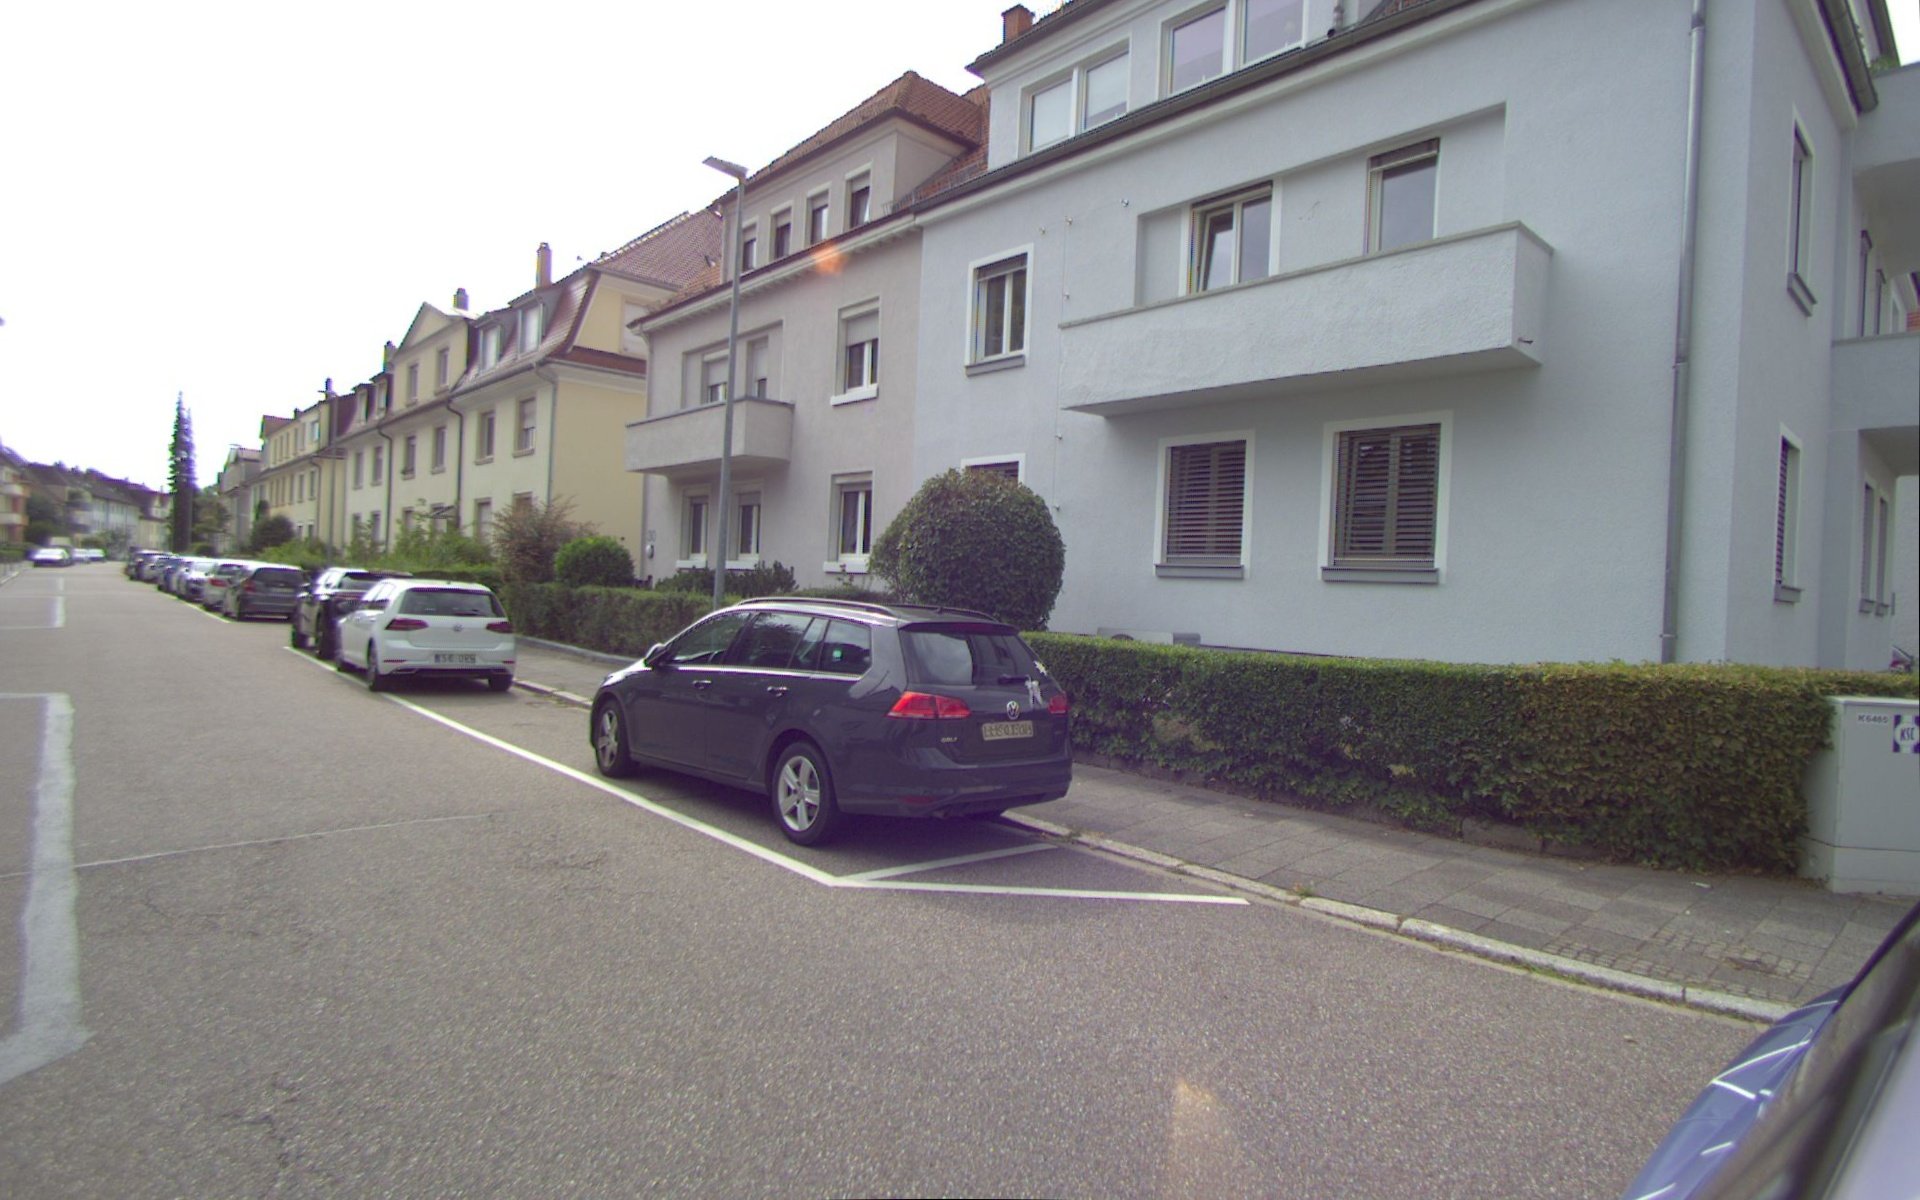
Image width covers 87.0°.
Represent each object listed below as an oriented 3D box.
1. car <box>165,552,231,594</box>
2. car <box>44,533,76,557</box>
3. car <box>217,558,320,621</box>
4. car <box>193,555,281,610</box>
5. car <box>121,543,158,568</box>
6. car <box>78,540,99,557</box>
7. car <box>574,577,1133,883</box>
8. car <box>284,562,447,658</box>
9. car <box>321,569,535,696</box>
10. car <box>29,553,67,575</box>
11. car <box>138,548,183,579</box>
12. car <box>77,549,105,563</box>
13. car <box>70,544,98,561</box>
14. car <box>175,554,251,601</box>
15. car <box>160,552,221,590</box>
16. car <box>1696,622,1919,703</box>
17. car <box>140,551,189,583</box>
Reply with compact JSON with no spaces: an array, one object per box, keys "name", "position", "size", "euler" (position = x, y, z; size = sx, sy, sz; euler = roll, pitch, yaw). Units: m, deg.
[{"name":"car","position":[-30.322,-1.088,40.235],"size":[1.827,1.490,4.170],"euler":[2,1,-40]},{"name":"car","position":[-82.306,-5.039,92.549],"size":[1.964,2.039,3.996],"euler":[2,1,-40]},{"name":"car","position":[-18.564,-0.305,27.101],"size":[1.827,1.490,4.170],"euler":[2,1,-40]},{"name":"car","position":[-22.259,-0.566,31.105],"size":[1.827,1.490,4.170],"euler":[2,1,-40]},{"name":"car","position":[-57.662,-3.149,71.096],"size":[1.827,1.597,4.169],"euler":[2,1,-42]},{"name":"car","position":[-120.633,-7.133,140.095],"size":[1.963,2.150,3.998],"euler":[2,1,-38]},{"name":"car","position":[-1.005,0.660,7.403],"size":[1.829,1.490,4.164],"euler":[2,1,-45]},{"name":"car","position":[-10.884,0.123,18.392],"size":[1.827,1.490,4.170],"euler":[2,1,-40]},{"name":"car","position":[-7.752,0.370,14.539],"size":[1.827,1.490,4.170],"euler":[2,1,-40]},{"name":"car","position":[-74.711,-2.958,82.939],"size":[1.963,1.660,3.998],"euler":[2,1,-38]},{"name":"car","position":[-44.901,-2.067,56.804],"size":[1.827,1.597,4.170],"euler":[2,1,-40]},{"name":"car","position":[-100.694,-5.103,117.319],"size":[1.961,1.555,4.003],"euler":[0,2,-33]},{"name":"car","position":[-92.023,-4.997,106.324],"size":[1.963,1.660,3.998],"euler":[2,1,-38]},{"name":"car","position":[-26.101,-0.816,35.329],"size":[1.827,1.490,4.170],"euler":[2,1,-40]},{"name":"car","position":[-33.215,-1.259,43.637],"size":[1.827,1.490,4.170],"euler":[2,1,-40]},{"name":"car","position":[19.811,1.383,23.529],"size":[1.965,1.482,3.995],"euler":[2,1,-41]},{"name":"car","position":[-41.498,-1.727,52.757],"size":[1.827,1.490,4.170],"euler":[2,1,-40]}]
